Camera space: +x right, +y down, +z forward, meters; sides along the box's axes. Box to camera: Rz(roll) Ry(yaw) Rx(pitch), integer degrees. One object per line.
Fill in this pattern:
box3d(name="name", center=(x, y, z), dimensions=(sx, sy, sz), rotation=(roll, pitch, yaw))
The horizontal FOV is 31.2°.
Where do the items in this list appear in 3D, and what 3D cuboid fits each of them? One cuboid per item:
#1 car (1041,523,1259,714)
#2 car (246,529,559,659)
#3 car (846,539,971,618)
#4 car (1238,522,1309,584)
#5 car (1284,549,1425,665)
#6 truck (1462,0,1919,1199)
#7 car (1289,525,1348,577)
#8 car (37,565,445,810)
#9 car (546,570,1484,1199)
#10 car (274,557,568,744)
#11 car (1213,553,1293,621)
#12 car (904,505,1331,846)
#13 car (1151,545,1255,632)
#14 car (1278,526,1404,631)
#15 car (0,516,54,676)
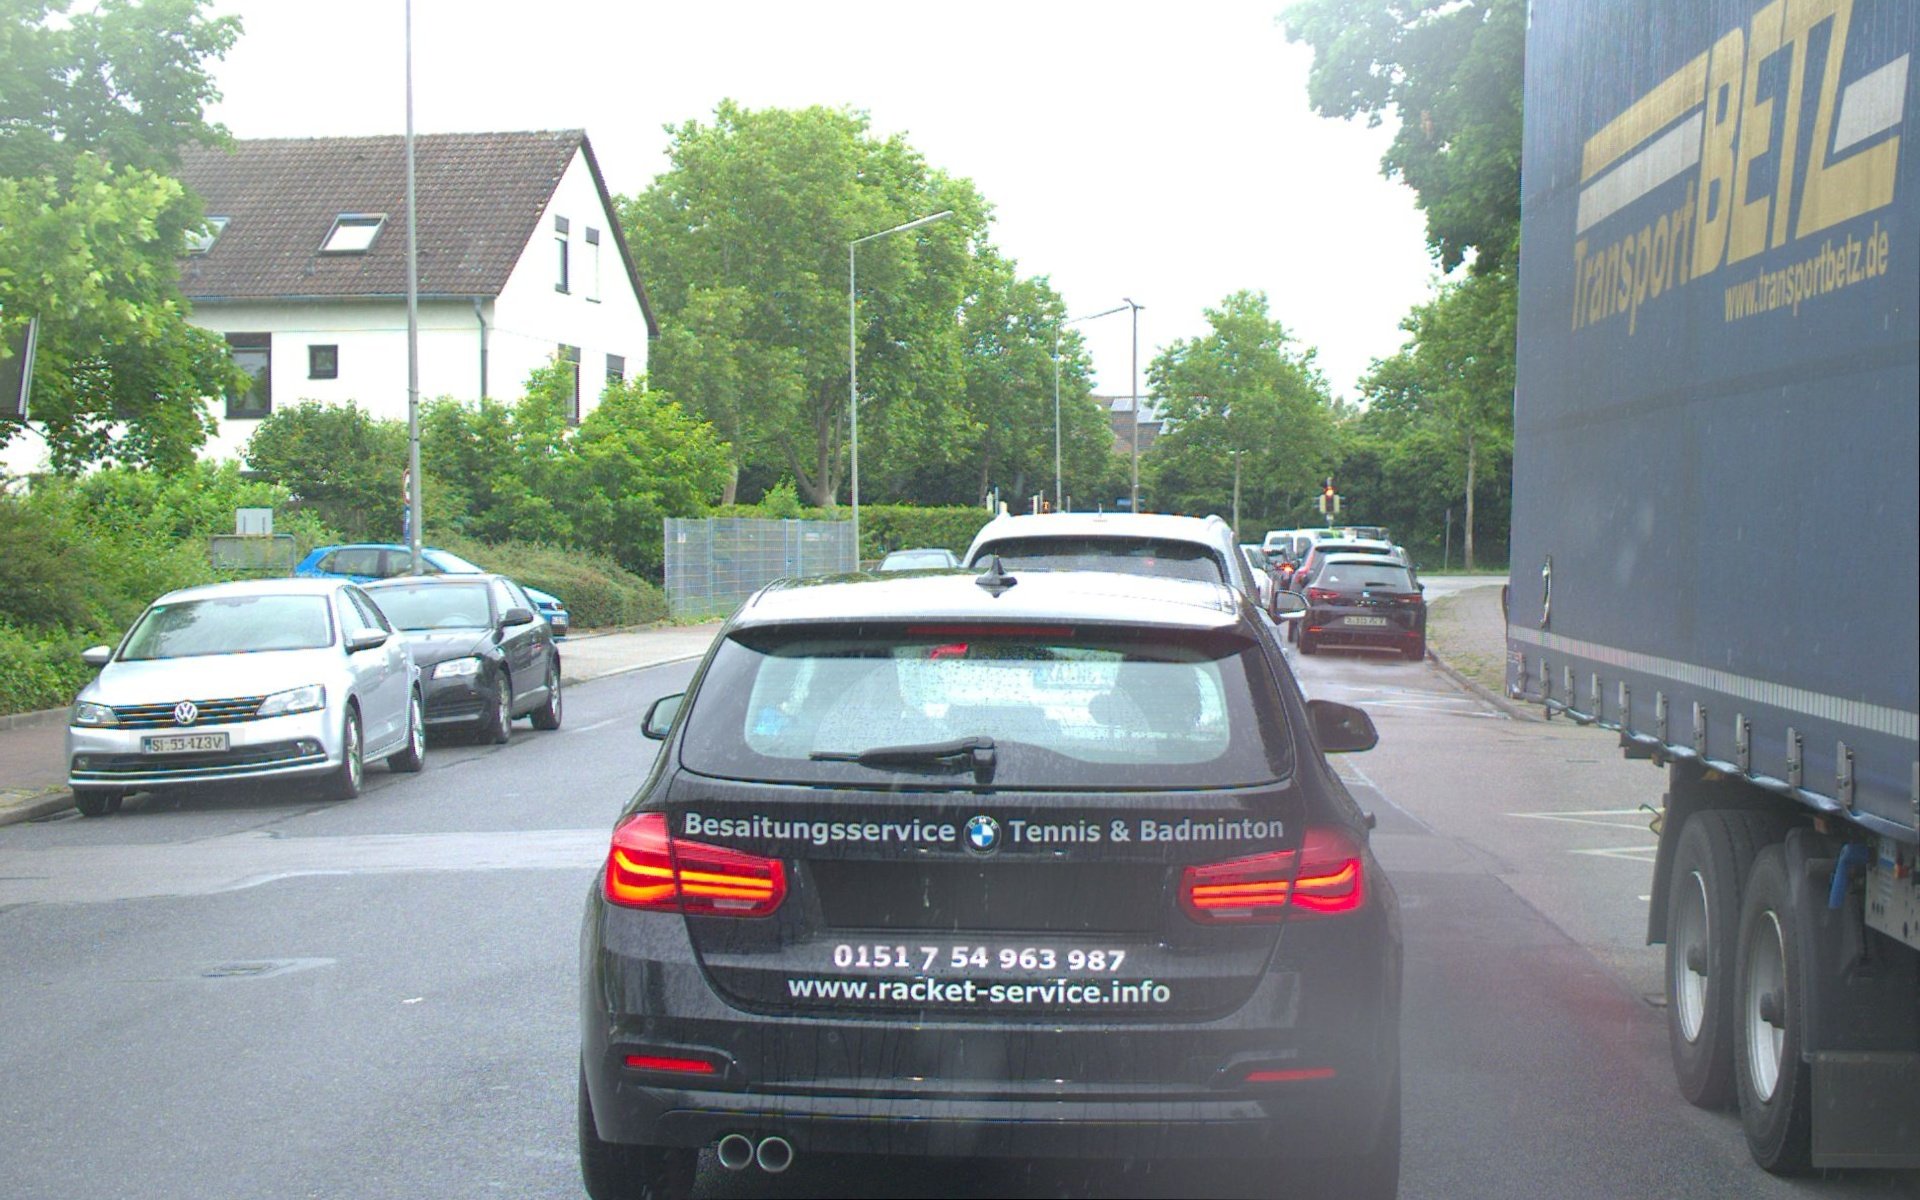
box3d(name="car", center=(1.729, 0.133, 30.793), dimensions=(1.804, 1.581, 3.999), rotation=(1, 1, 4))
box3d(name="car", center=(-7.609, -0.095, 47.081), dimensions=(3.826, 1.589, 1.711), rotation=(-2, 1, 9))
box3d(name="car", center=(-0.943, -0.425, 65.500), dimensions=(1.706, 1.362, 3.837), rotation=(-2, 1, 9))
box3d(name="car", center=(8.236, -1.251, 90.060), dimensions=(1.804, 1.581, 3.999), rotation=(0, 1, 6))
box3d(name="car", center=(5.611, 0.075, 49.240), dimensions=(1.804, 1.581, 3.999), rotation=(1, 1, 4))
box3d(name="truck", center=(3.202, -0.433, 9.043), dimensions=(2.741, 3.598, 7.750), rotation=(2, 1, 2))
box3d(name="car", center=(11.265, -1.557, 108.048), dimensions=(1.804, 1.581, 3.999), rotation=(0, 1, 6))
box3d(name="car", center=(-4.682, 0.508, 23.055), dimensions=(1.705, 1.362, 4.601), rotation=(-2, 1, 0))
box3d(name="car", center=(-0.015, 0.636, 8.638), dimensions=(1.804, 1.390, 4.001), rotation=(1, 1, -4))
box3d(name="car", center=(-4.435, 0.373, 28.801), dimensions=(1.705, 1.362, 3.838), rotation=(-2, 1, 2))
box3d(name="car", center=(7.074, -0.324, 82.696), dimensions=(1.805, 1.581, 3.999), rotation=(1, 1, 6))
box3d(name="car", center=(0.708, 0.336, 18.127), dimensions=(1.804, 1.581, 4.001), rotation=(1, 1, -4))
box3d(name="car", center=(4.650, -0.238, 65.450), dimensions=(1.805, 1.581, 3.999), rotation=(1, 1, 6))
box3d(name="car", center=(6.012, -0.355, 54.588), dimensions=(1.804, 1.581, 3.999), rotation=(1, 1, 4))
box3d(name="car", center=(-11.150, -0.058, 33.818), dimensions=(3.987, 1.535, 1.911), rotation=(0, 1, -1))
